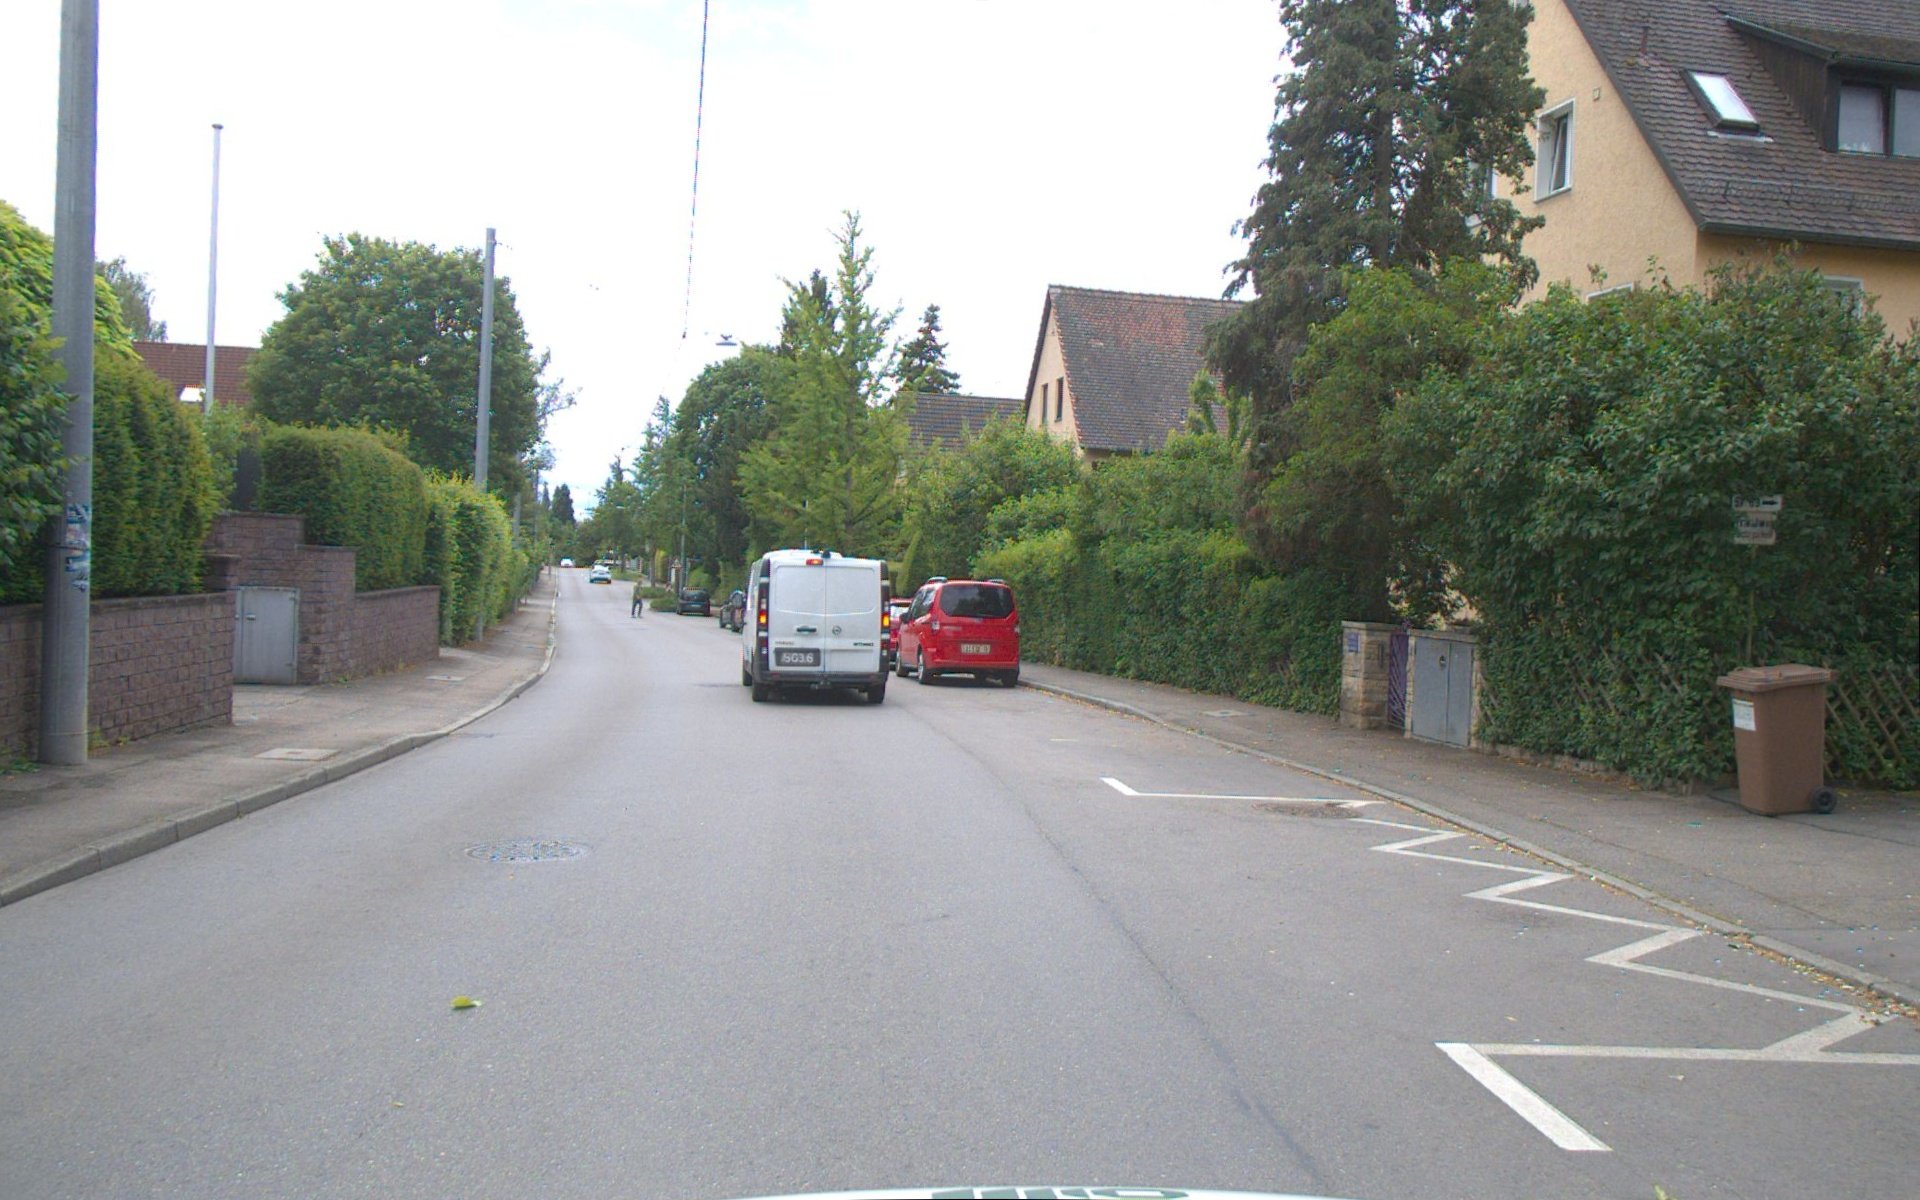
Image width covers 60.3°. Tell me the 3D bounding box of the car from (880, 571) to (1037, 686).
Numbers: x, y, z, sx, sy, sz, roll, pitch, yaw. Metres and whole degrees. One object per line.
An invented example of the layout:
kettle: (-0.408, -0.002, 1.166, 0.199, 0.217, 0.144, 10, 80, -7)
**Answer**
car: (-0.134, 0.443, 29.468, 1.730, 1.828, 4.933, 2, 0, -12)

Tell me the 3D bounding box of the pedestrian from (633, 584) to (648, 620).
pedestrian: (-14.424, 0.105, 74.583, 0.544, 1.586, 0.553, 2, 2, -3)

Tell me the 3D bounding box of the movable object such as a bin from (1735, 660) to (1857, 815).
movable object such as a bin: (6.297, 1.022, 12.477, 0.591, 1.088, 0.568, 3, 0, 1)

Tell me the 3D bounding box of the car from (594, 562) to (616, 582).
car: (-33.414, -2.618, 155.550, 1.747, 1.679, 3.630, 2, 2, -15)

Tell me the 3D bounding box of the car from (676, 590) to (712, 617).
car: (-14.038, 0.183, 87.273, 1.505, 1.327, 3.215, 2, 0, -15)

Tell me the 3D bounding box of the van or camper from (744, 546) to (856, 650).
van or camper: (-4.731, -0.078, 47.927, 2.033, 2.721, 6.301, 3, 0, -16)

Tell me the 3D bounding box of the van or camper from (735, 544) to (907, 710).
van or camper: (-2.131, 0.283, 24.020, 1.890, 2.048, 4.817, 3, 2, -11)

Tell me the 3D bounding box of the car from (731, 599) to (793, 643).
car: (-6.704, 0.685, 55.809, 1.505, 1.327, 4.015, 2, 0, -15)

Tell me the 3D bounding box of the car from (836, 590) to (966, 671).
car: (-1.293, 0.598, 34.502, 1.685, 1.493, 4.249, 2, 0, -16)
